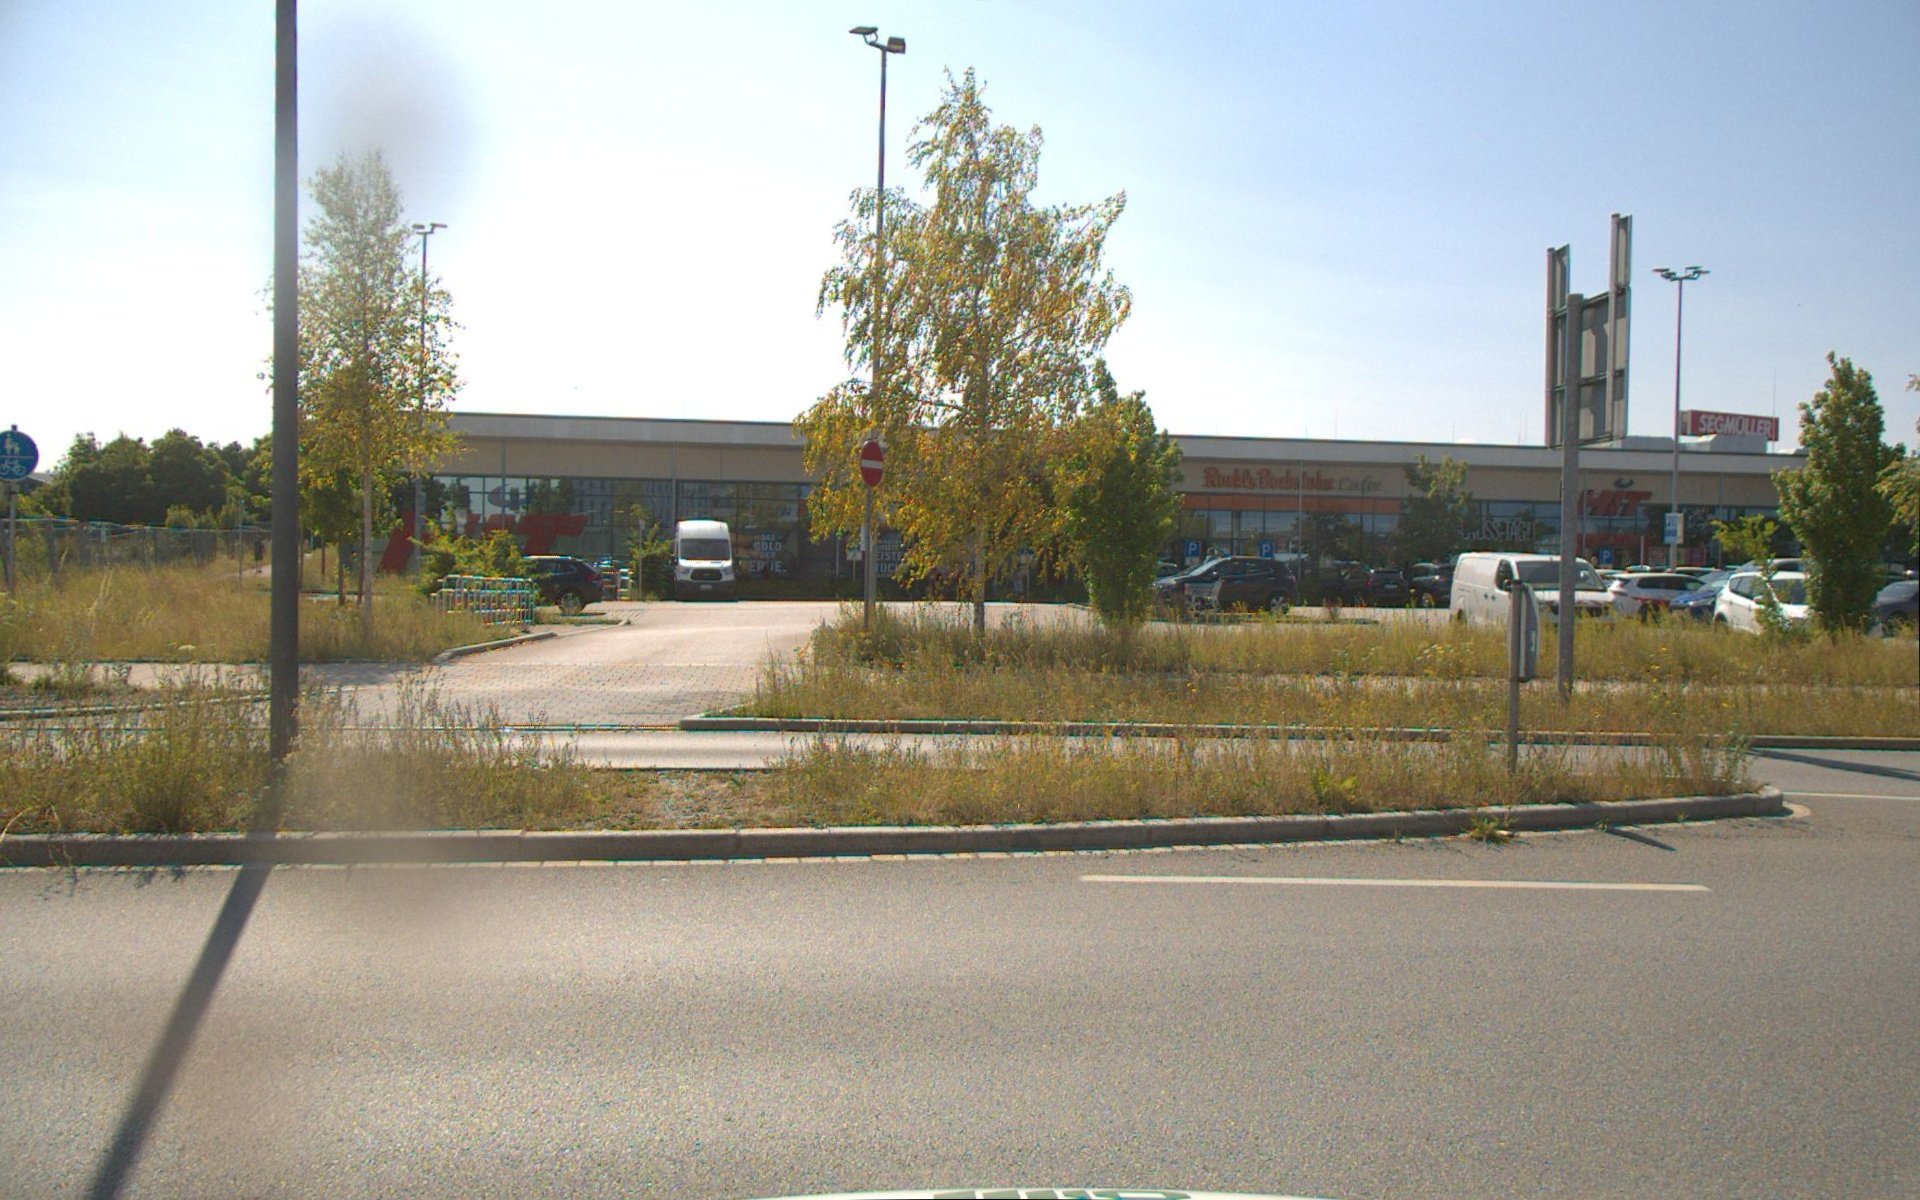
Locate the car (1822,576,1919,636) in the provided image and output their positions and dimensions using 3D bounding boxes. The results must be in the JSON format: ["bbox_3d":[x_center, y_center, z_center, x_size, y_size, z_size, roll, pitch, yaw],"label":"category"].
[{"bbox_3d":[25.630,0.165,44.551,3.911,1.534,1.872,1,1,-7],"label":"car"}]

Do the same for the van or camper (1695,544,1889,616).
[{"bbox_3d":[25.075,-0.617,49.931,4.938,2.048,1.998,1,2,-6],"label":"van or camper"}]

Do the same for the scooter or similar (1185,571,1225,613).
[{"bbox_3d":[6.653,-0.226,44.942,0.924,1.098,0.652,1,1,-4],"label":"scooter or similar"}]

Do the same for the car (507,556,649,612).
[{"bbox_3d":[-10.629,-0.459,46.218,3.765,1.448,1.767,1,1,-12],"label":"car"}]

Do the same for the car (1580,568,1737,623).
[{"bbox_3d":[19.240,-0.128,45.589,3.654,1.415,1.727,1,1,-12],"label":"car"}]

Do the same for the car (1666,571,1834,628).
[{"bbox_3d":[20.572,-0.015,43.124,3.654,1.415,1.727,1,1,-12],"label":"car"}]

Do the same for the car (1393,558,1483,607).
[{"bbox_3d":[17.895,-0.672,62.092,1.954,1.737,3.997,1,2,-5],"label":"car"}]

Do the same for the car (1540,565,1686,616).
[{"bbox_3d":[19.181,-0.279,48.633,3.654,1.415,1.727,1,1,-12],"label":"car"}]

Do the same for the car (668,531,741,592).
[{"bbox_3d":[-9.062,-1.377,58.176,2.183,2.011,6.678,0,2,-12],"label":"car"}]

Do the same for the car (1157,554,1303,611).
[{"bbox_3d":[7.608,-0.494,46.754,3.722,1.535,1.729,1,1,-8],"label":"car"}]

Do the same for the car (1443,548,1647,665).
[{"bbox_3d":[11.191,0.050,32.106,2.038,2.048,5.229,1,2,0],"label":"car"}]

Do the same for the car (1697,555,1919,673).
[{"bbox_3d":[16.304,0.180,32.109,2.112,2.048,5.120,1,2,6],"label":"car"}]

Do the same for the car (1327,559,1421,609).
[{"bbox_3d":[15.321,-0.613,61.457,1.957,1.737,3.992,1,2,-9],"label":"car"}]

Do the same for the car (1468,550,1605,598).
[{"bbox_3d":[17.890,-0.804,51.367,3.654,1.415,1.727,1,1,-12],"label":"car"}]

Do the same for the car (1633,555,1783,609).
[{"bbox_3d":[26.103,-0.640,57.791,4.384,1.735,1.873,1,1,-5],"label":"car"}]
